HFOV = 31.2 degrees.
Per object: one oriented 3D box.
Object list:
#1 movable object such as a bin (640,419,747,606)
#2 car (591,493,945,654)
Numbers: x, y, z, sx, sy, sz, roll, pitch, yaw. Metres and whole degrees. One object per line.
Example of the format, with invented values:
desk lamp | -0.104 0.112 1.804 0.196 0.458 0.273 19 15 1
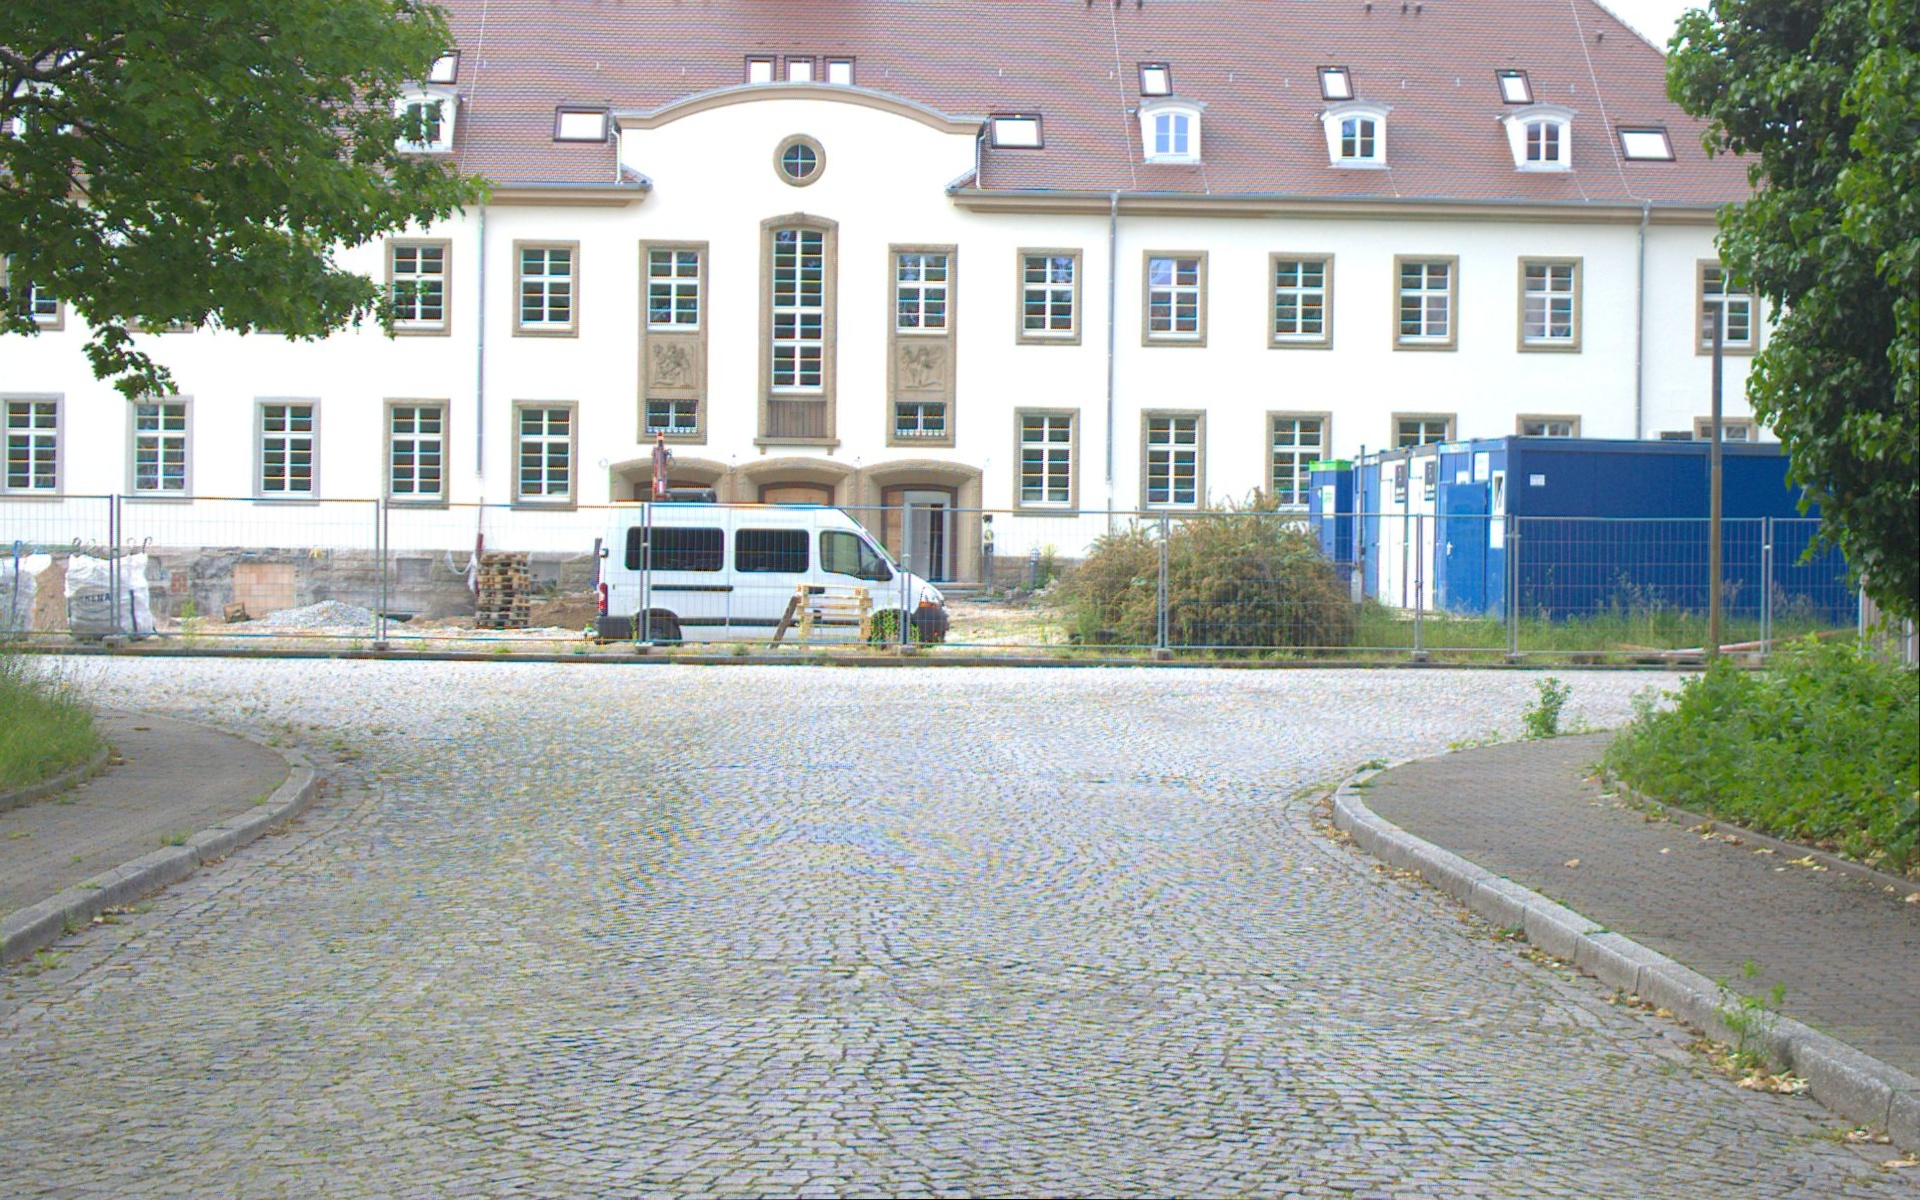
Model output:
movable object such as a bin | -5.650 -1.814 72.381 1.993 3.758 5.319 1 1 -7
car | -2.902 -0.418 52.544 5.262 2.336 1.910 1 1 -1
